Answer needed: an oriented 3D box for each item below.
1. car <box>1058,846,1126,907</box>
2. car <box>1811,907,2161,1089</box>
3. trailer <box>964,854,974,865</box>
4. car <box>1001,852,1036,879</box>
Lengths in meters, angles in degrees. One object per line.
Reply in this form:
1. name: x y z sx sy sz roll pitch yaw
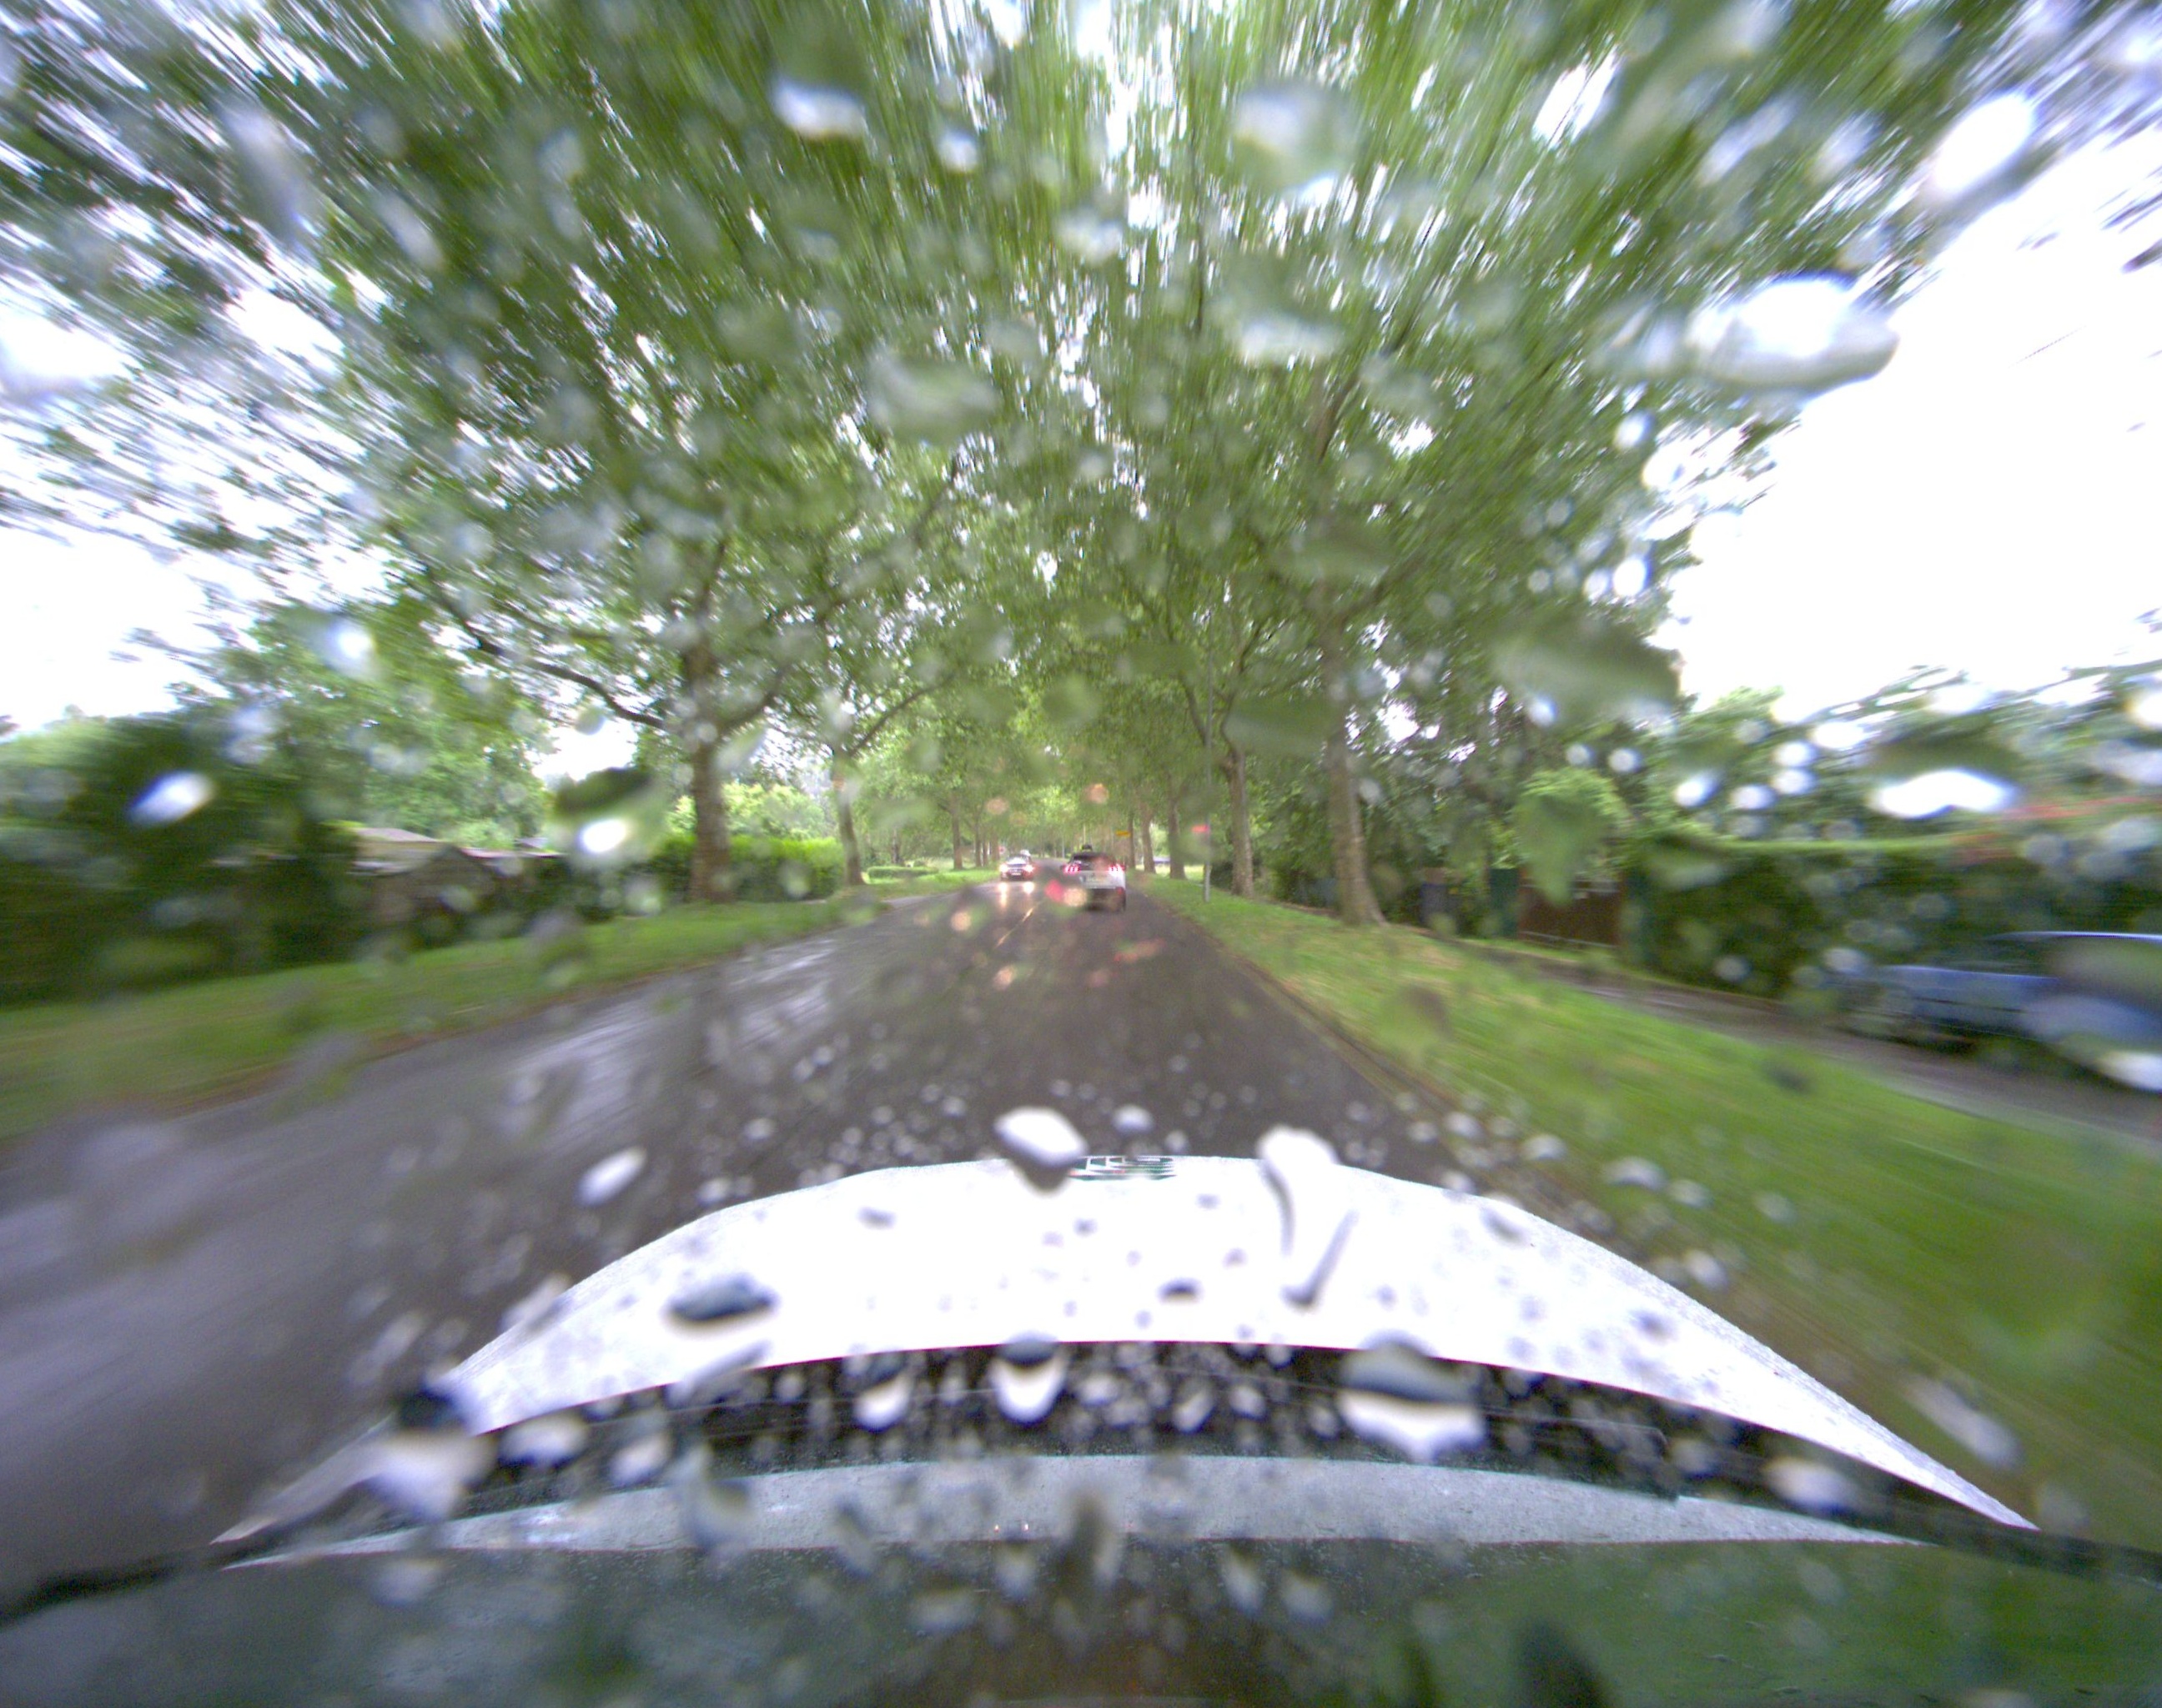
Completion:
1. car: 0.324 0.577 23.243 1.787 1.578 3.845 1 0 1
2. car: 9.913 1.379 7.982 1.791 1.325 3.996 5 0 -2
3. trailer: -28.024 1.308 204.011 2.483 2.567 5.317 1 0 -8
4. car: -3.523 0.630 46.396 1.841 1.502 3.996 1 0 -2
